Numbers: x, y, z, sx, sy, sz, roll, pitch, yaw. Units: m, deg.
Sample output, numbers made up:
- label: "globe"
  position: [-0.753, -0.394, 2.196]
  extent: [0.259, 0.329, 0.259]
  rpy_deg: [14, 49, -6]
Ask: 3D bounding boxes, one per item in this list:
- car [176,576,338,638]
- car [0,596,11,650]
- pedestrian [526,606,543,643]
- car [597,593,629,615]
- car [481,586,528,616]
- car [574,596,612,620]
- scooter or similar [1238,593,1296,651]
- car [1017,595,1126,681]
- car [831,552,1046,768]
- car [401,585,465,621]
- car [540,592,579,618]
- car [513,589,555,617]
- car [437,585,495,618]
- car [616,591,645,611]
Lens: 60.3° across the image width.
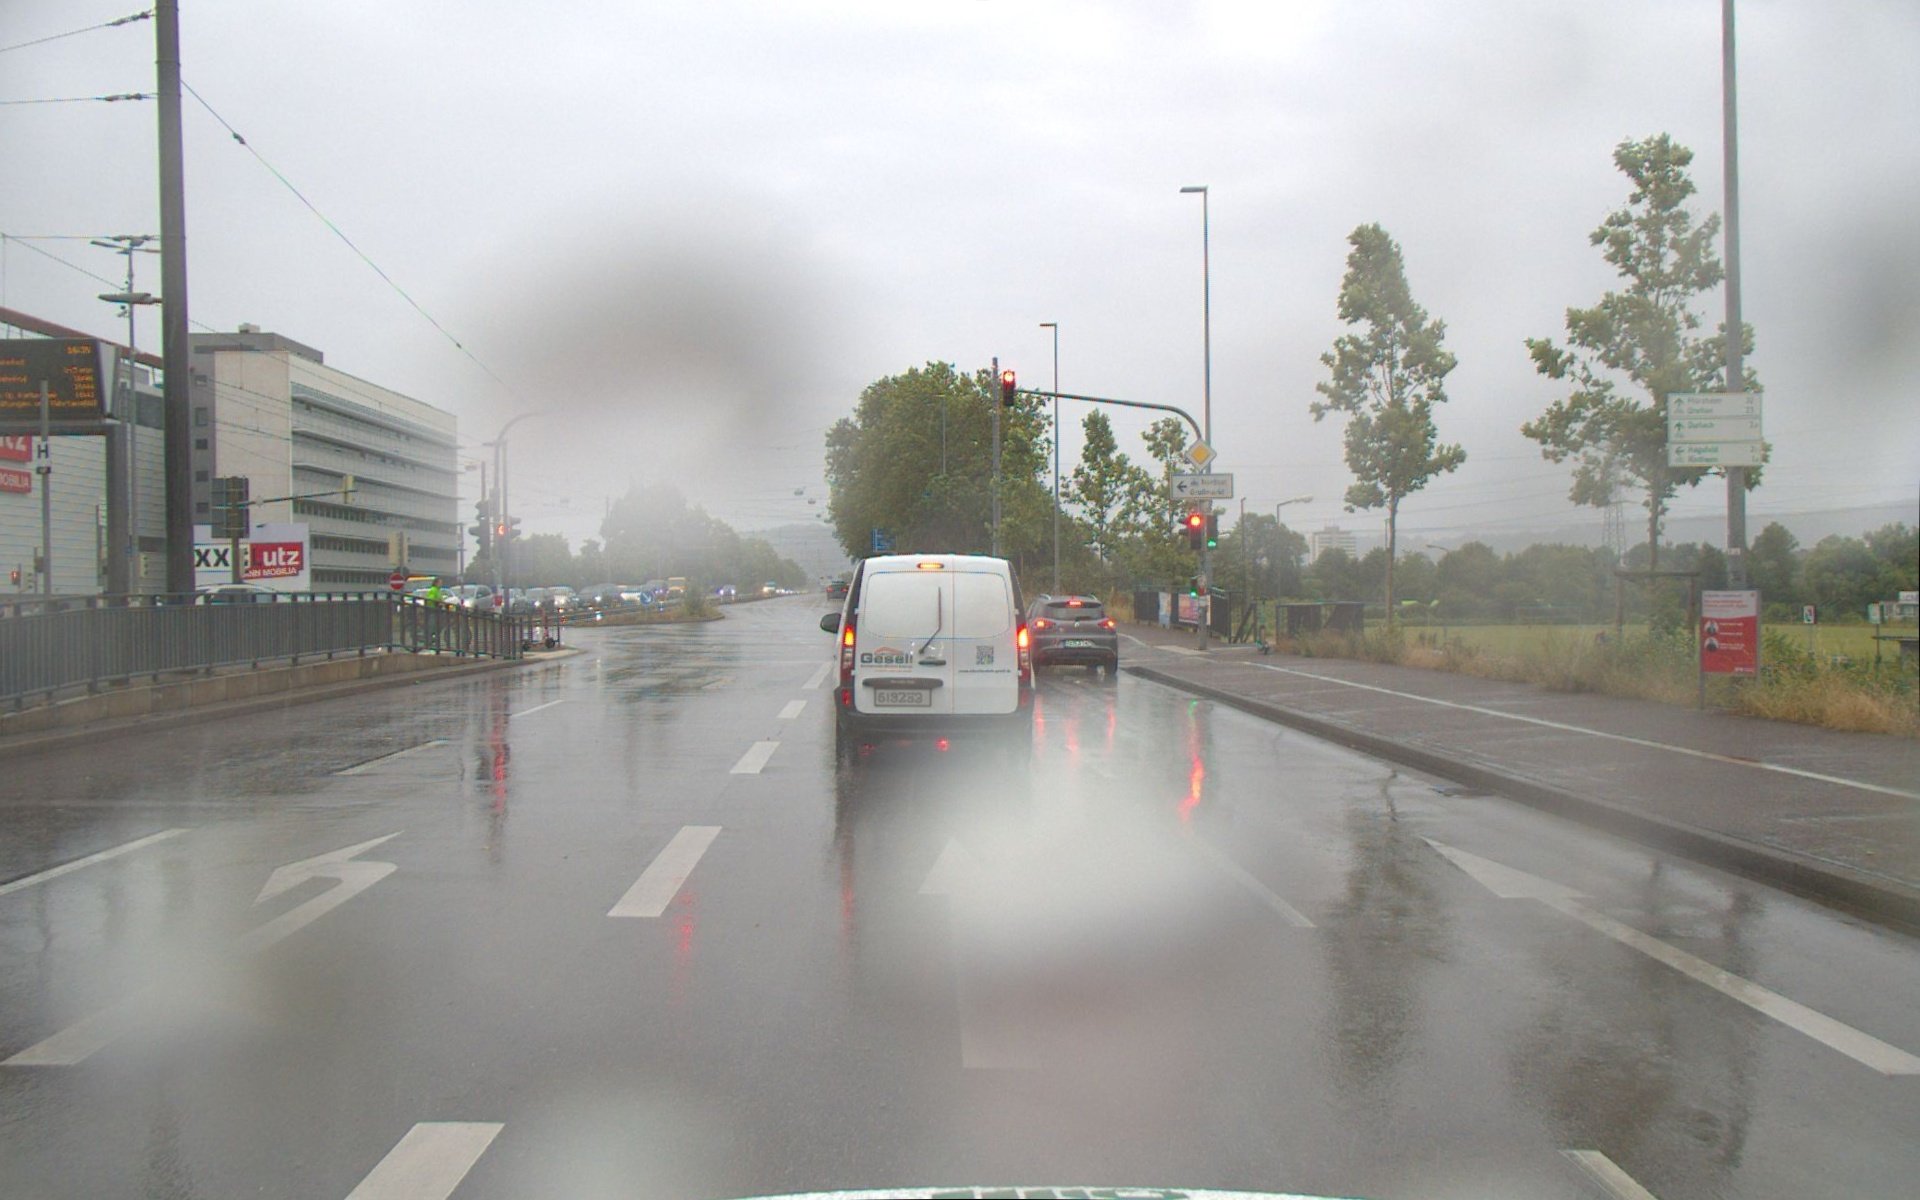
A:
- label: "car"
  position: [-21.299, 0.235, 50.289]
  extent: [4.386, 1.691, 1.941]
  rpy_deg: [2, -1, -22]
- label: "car"
  position: [-28.142, 0.555, 44.503]
  extent: [4.104, 1.476, 1.715]
  rpy_deg: [2, -1, -5]
- label: "pedestrian"
  position: [-10.696, 0.606, 41.566]
  extent: [0.309, 0.913, 0.380]
  rpy_deg: [2, 0, -4]
- label: "car"
  position: [-24.374, 0.314, 116.278]
  extent: [1.528, 1.451, 3.567]
  rpy_deg: [2, -1, -2]
- label: "car"
  position: [-23.638, 0.087, 85.934]
  extent: [1.528, 1.451, 3.567]
  rpy_deg: [2, -1, -2]
- label: "car"
  position: [-23.690, 0.511, 106.816]
  extent: [1.676, 1.451, 3.807]
  rpy_deg: [2, -1, -2]
- label: "scooter or similar"
  position: [6.736, 0.456, 36.474]
  extent: [0.676, 1.232, 3.019]
  rpy_deg: [-1, 0, -1]
- label: "car"
  position: [2.101, 0.700, 31.999]
  extent: [1.650, 1.534, 3.918]
  rpy_deg: [1, 0, -3]
- label: "car"
  position: [-0.333, 0.471, 15.784]
  extent: [1.720, 1.780, 4.164]
  rpy_deg: [0, 1, -5]
- label: "car"
  position: [-23.165, 0.143, 72.805]
  extent: [1.676, 1.451, 3.807]
  rpy_deg: [2, -1, -2]
- label: "car"
  position: [-24.087, 0.298, 99.489]
  extent: [1.528, 1.451, 3.567]
  rpy_deg: [2, -1, -2]
- label: "car"
  position: [-23.928, 0.167, 93.006]
  extent: [1.528, 1.451, 3.567]
  rpy_deg: [2, -1, -2]
- label: "car"
  position: [-23.451, 0.092, 78.703]
  extent: [1.676, 1.451, 3.807]
  rpy_deg: [2, -1, -2]
- label: "car"
  position: [-25.203, 0.105, 126.593]
  extent: [1.528, 1.451, 3.567]
  rpy_deg: [2, -1, -2]
